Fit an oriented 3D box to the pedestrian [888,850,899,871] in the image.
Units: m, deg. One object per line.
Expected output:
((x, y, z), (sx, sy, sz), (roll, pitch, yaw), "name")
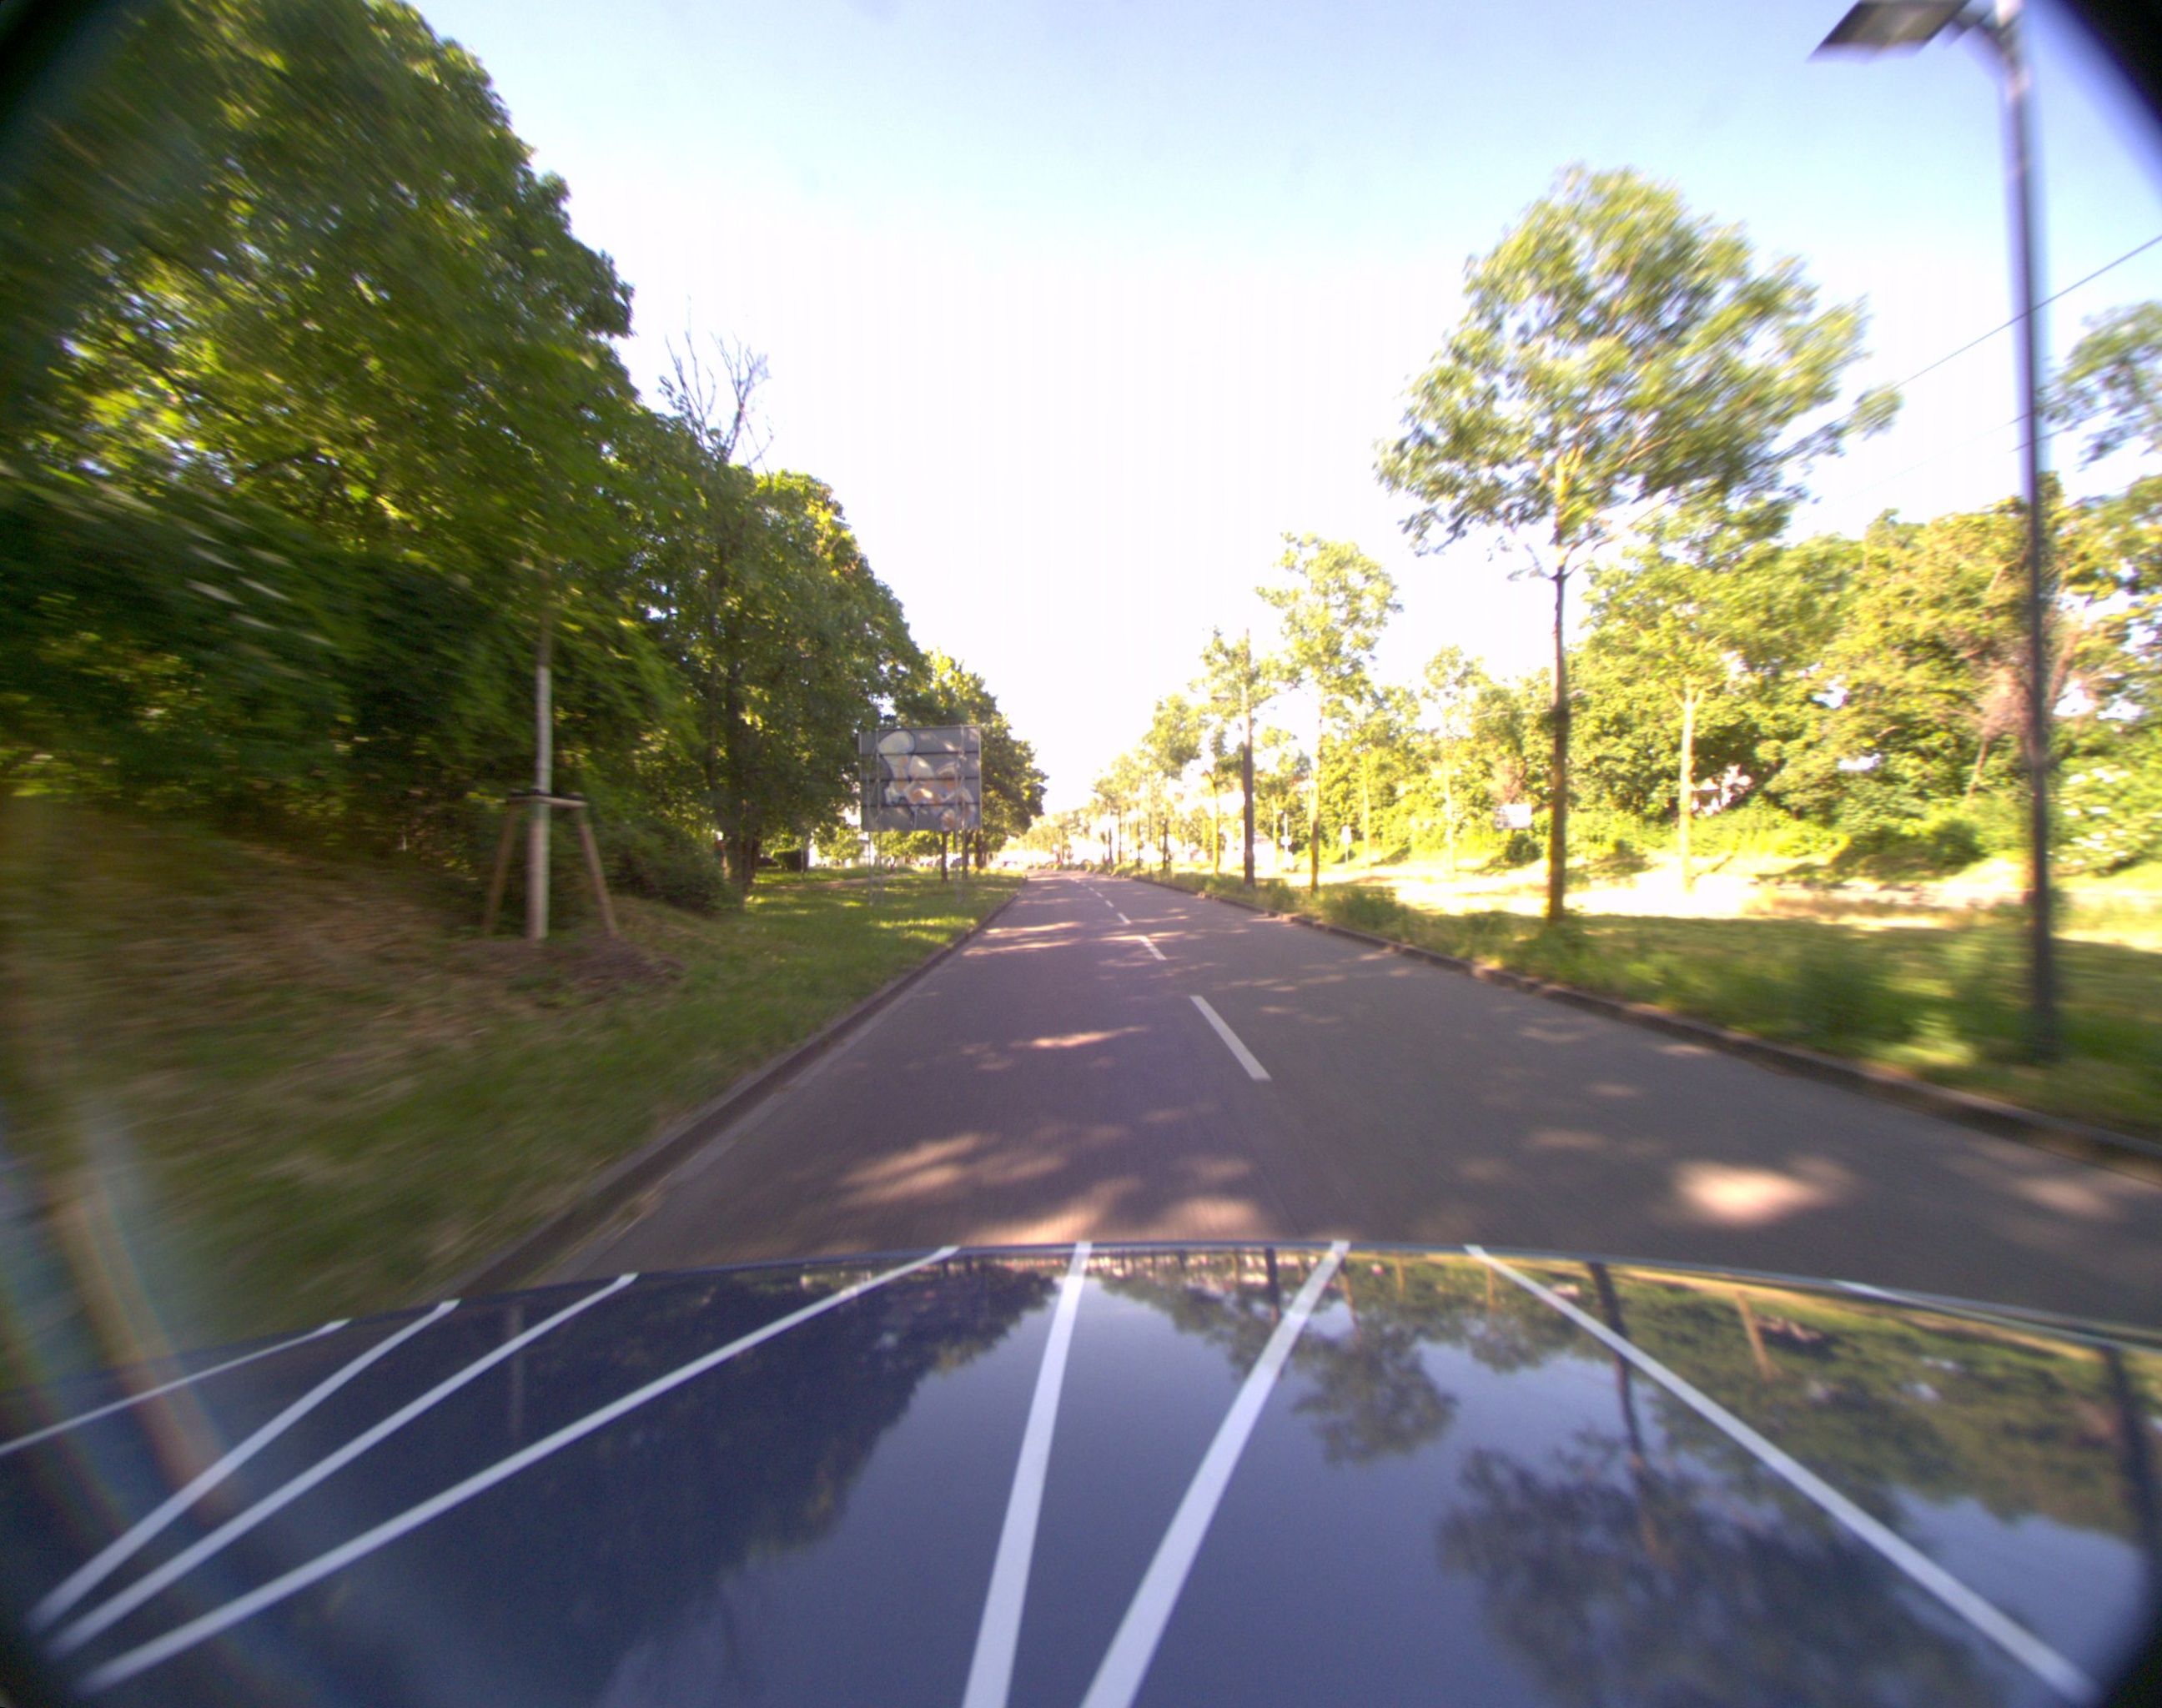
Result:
((-15.750, 0.531, 63.932), (0.718, 1.793, 0.793), (-1, 0, -6), "pedestrian")

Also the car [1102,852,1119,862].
((5.637, 0.645, 144.928), (1.826, 1.630, 4.485), (-1, -3, -16), "car")

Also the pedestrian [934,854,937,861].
((-34.902, 0.944, 182.202), (0.733, 1.687, 0.734), (-1, 0, -16), "pedestrian")

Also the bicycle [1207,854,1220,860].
((26.070, 0.600, 149.695), (2.554, 1.205, 0.718), (-1, 0, -16), "bicycle")

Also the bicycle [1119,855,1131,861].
((9.676, 0.955, 168.702), (2.582, 1.301, 0.662), (-1, 0, -18), "bicycle")
